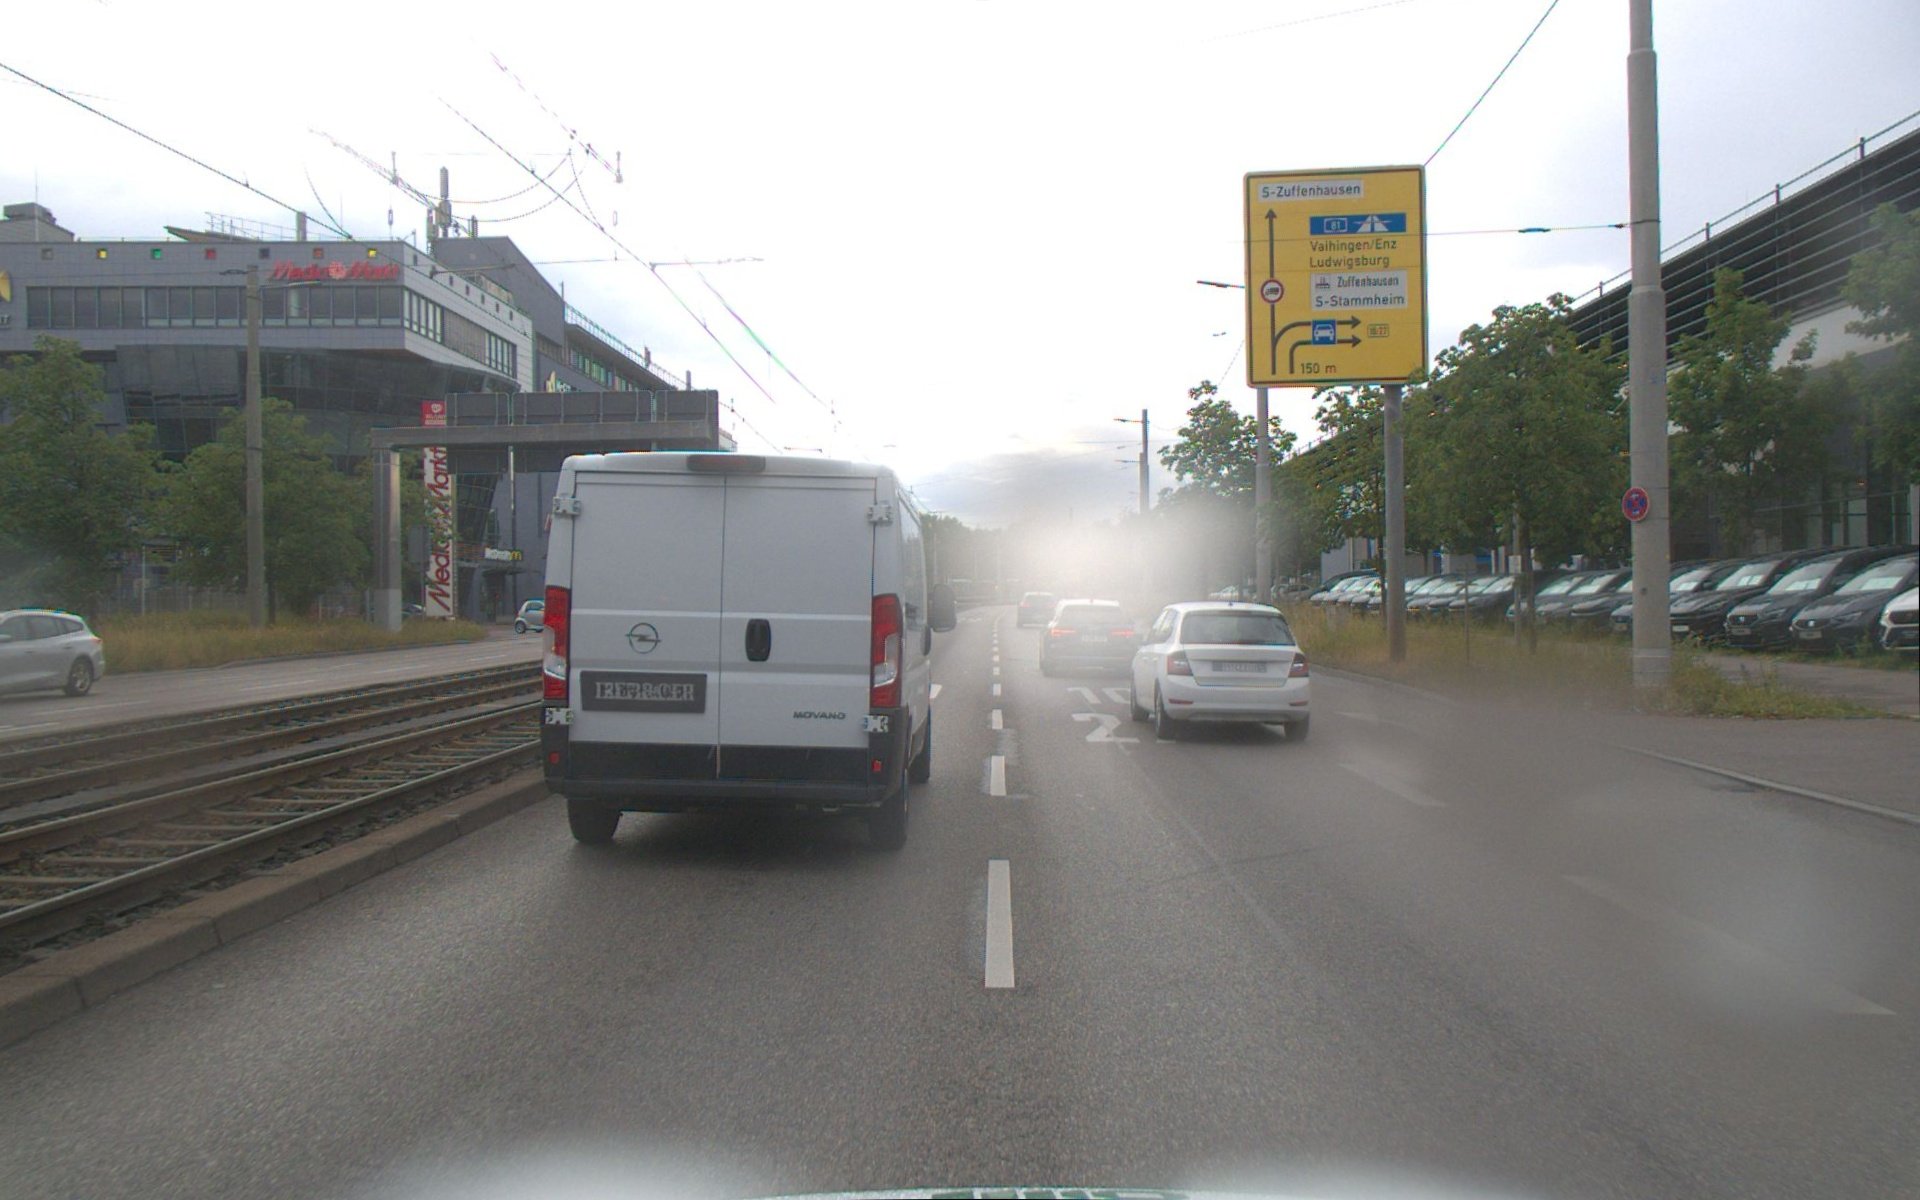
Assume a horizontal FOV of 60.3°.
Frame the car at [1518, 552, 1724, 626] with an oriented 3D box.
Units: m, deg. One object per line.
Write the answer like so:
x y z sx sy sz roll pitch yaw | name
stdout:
16.308 -0.272 40.892 4.404 1.596 1.817 -2 0 -10 | car

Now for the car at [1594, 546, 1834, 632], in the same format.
16.227 -0.239 35.696 4.401 1.647 1.818 -2 0 -8 | car

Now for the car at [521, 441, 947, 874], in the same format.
-1.211 0.273 11.247 2.047 2.234 5.062 1 1 1 | car

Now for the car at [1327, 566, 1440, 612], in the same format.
16.701 -0.446 65.226 4.084 1.632 1.813 -3 0 -24 | car

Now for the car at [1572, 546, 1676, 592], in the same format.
30.320 -1.412 75.623 3.943 2.010 1.945 -1 0 1 | car

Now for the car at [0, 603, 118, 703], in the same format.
-15.783 0.858 26.632 1.857 1.514 4.426 -1 1 5 | car

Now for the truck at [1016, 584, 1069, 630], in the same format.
3.399 0.261 68.747 1.953 1.822 4.414 -1 0 0 | truck

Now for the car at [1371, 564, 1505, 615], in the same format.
16.388 -0.359 56.715 4.076 1.554 1.822 -2 0 -19 | car

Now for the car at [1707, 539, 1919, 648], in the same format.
16.120 -0.157 30.010 4.405 1.783 1.817 -2 0 -11 | car

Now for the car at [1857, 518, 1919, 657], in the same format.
16.038 -0.272 25.014 4.418 2.026 1.811 -2 0 -19 | car

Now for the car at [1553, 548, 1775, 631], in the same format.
16.205 -0.250 38.130 4.404 1.692 1.817 -2 0 -10 | car

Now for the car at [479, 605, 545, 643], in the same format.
-21.459 1.149 79.243 2.897 1.563 1.595 -4 4 -18 | car

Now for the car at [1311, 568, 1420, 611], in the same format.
16.672 -0.443 68.058 4.087 1.589 1.855 -3 0 -25 | car

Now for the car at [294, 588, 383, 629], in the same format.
-32.335 0.437 86.129 3.909 2.049 1.998 -1 0 -5 | car

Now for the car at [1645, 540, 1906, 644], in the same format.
16.153 -0.167 32.846 4.405 1.827 1.817 -2 0 -11 | car

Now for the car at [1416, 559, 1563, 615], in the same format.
16.381 -0.401 51.199 4.076 1.561 1.784 -2 0 -19 | car

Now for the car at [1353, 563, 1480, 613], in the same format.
16.397 -0.434 59.454 4.081 1.597 1.897 -2 0 -22 | car

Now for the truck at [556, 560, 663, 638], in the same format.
-12.811 -0.038 60.987 2.192 2.609 7.016 -2 0 2 | truck

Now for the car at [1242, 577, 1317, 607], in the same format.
18.246 -0.454 94.432 4.047 1.491 1.729 -2 -1 -32 | car

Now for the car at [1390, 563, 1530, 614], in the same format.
16.321 -0.365 53.991 4.076 1.484 1.784 -2 0 -19 | car

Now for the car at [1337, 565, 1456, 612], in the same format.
16.450 -0.443 62.341 4.084 1.597 1.813 -3 0 -24 | car

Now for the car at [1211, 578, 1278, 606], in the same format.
17.893 -0.499 103.804 4.053 1.596 1.777 -2 -1 -35 | car

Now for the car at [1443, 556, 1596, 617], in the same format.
16.332 -0.393 48.294 3.982 1.603 1.724 -2 0 -19 | car

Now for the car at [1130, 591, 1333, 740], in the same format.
3.004 0.671 18.976 1.711 1.483 3.671 2 0 0 | car

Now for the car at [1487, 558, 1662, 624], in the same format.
16.055 -0.238 43.308 3.971 1.528 1.683 -2 0 -10 | car

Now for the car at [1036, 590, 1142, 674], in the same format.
2.428 0.561 31.870 1.752 1.474 4.000 1 1 1 | car

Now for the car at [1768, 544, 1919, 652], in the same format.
15.975 -0.098 27.489 4.408 1.666 1.815 -2 0 -13 | car
